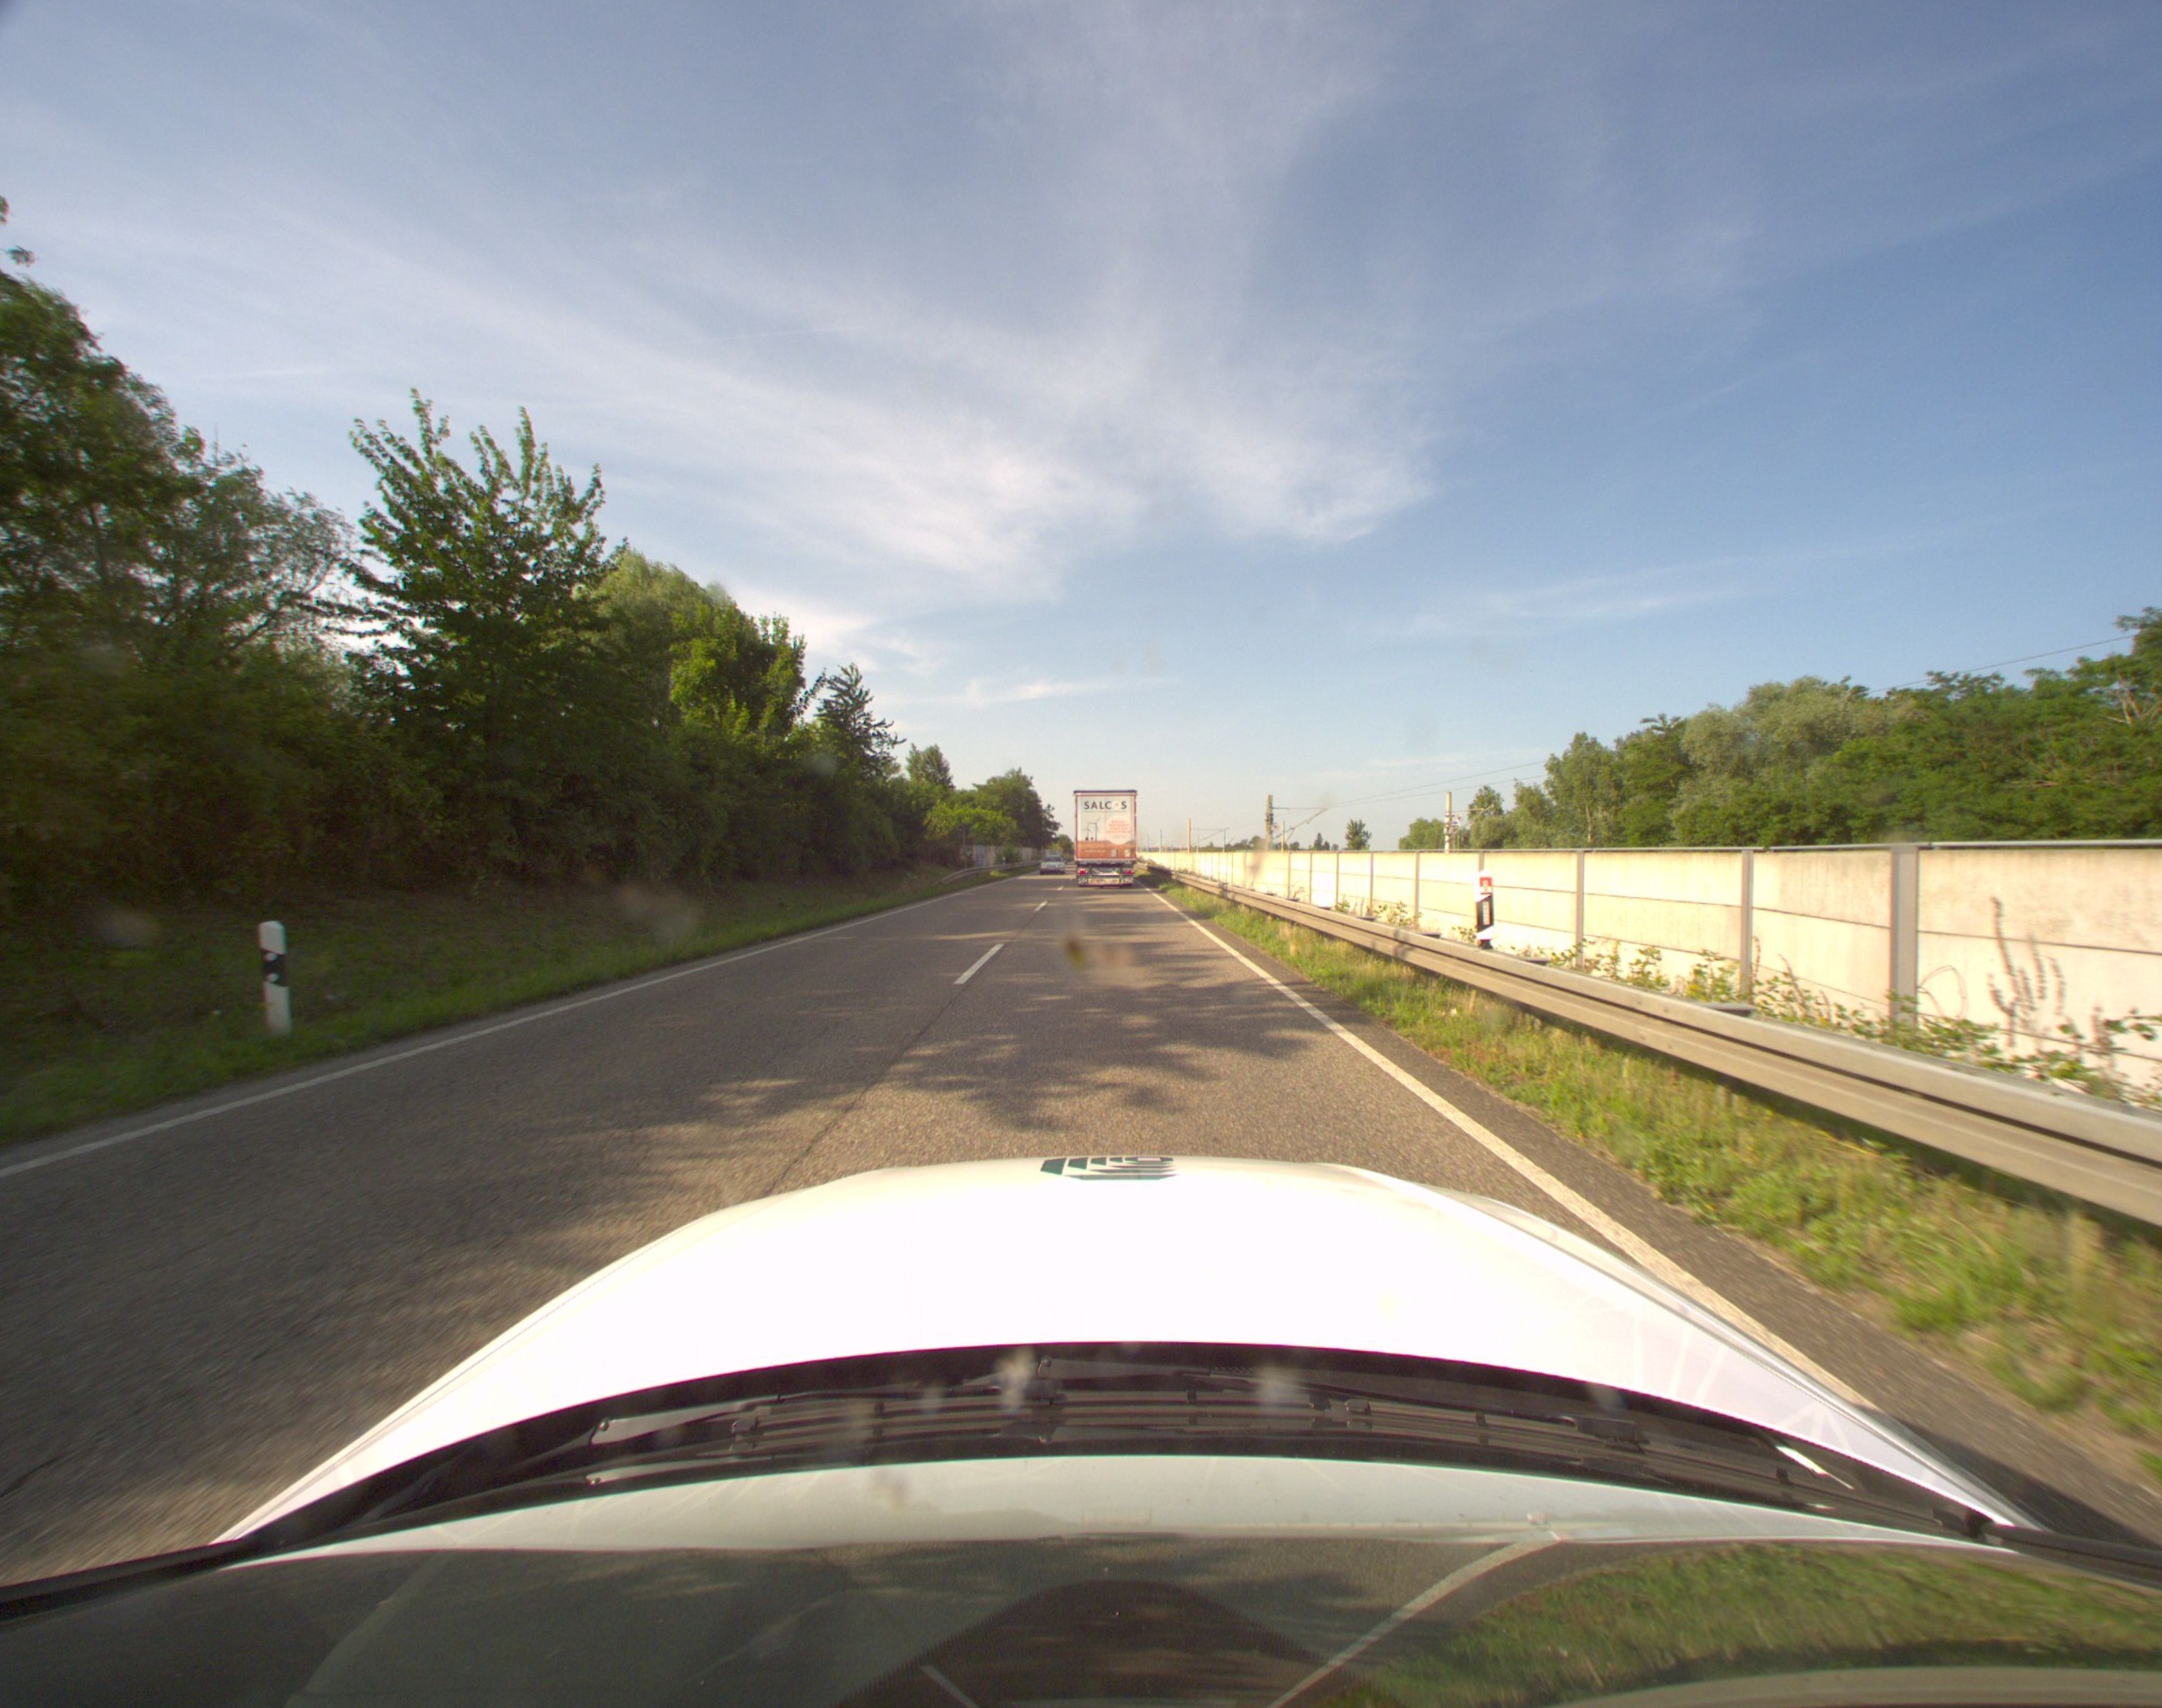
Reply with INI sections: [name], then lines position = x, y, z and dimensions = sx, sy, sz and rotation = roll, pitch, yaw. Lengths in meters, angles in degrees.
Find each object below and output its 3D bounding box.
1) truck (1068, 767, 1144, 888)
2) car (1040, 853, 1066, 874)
[truck]
position = 1.025, -1.117, 39.117
dimensions = 3.023, 4.920, 11.682
rotation = -1, 0, 0
[car]
position = -2.014, 0.686, 59.764
dimensions = 1.714, 1.394, 4.359
rotation = -1, 0, -1
